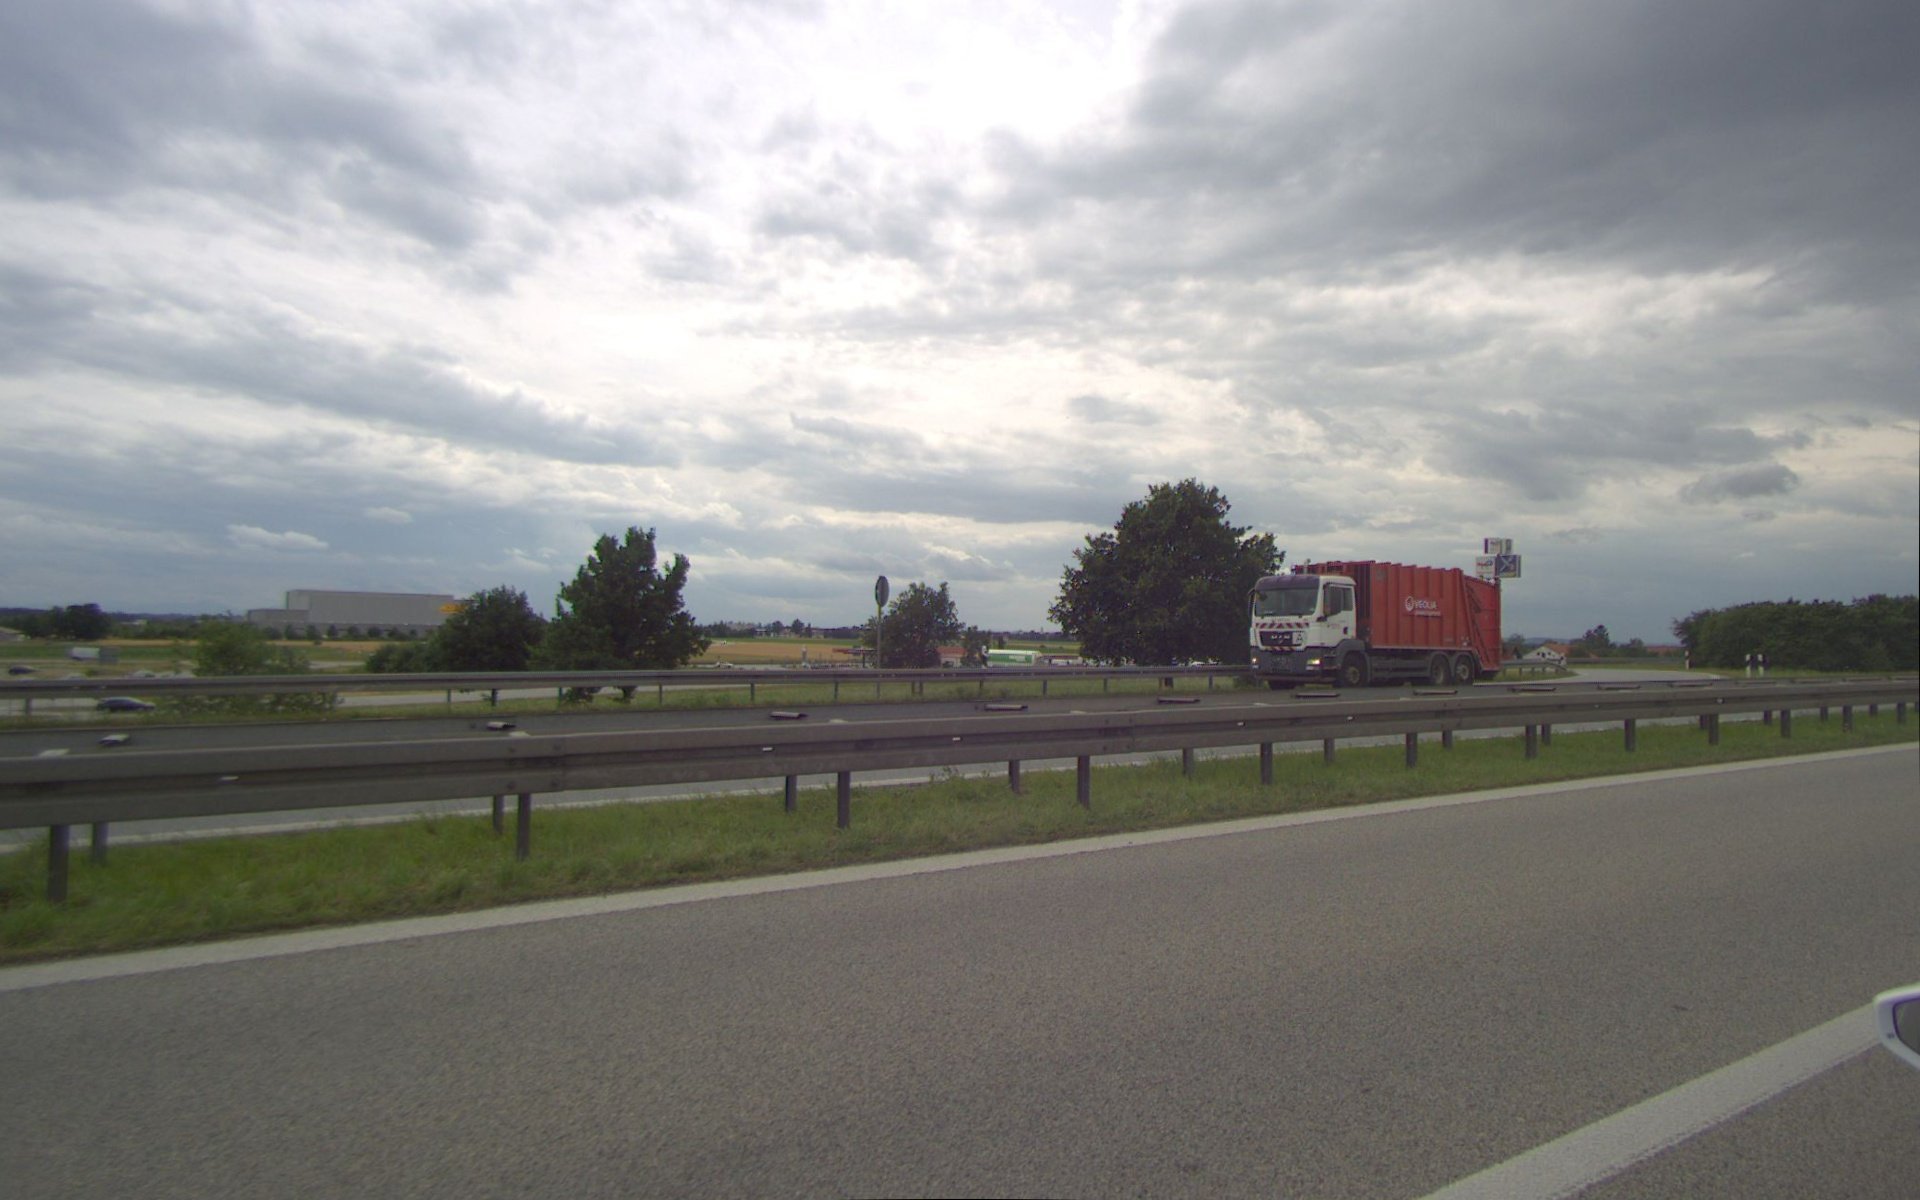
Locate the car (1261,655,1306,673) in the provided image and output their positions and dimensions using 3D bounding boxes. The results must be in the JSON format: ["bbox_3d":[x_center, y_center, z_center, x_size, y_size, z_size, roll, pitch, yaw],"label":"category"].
[{"bbox_3d":[35.109,6.941,109.038,4.228,1.493,1.910,3,1,40],"label":"car"}]

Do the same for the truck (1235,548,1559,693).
[{"bbox_3d":[12.832,0.717,28.916,10.951,3.582,2.656,2,-3,-31],"label":"truck"}]
